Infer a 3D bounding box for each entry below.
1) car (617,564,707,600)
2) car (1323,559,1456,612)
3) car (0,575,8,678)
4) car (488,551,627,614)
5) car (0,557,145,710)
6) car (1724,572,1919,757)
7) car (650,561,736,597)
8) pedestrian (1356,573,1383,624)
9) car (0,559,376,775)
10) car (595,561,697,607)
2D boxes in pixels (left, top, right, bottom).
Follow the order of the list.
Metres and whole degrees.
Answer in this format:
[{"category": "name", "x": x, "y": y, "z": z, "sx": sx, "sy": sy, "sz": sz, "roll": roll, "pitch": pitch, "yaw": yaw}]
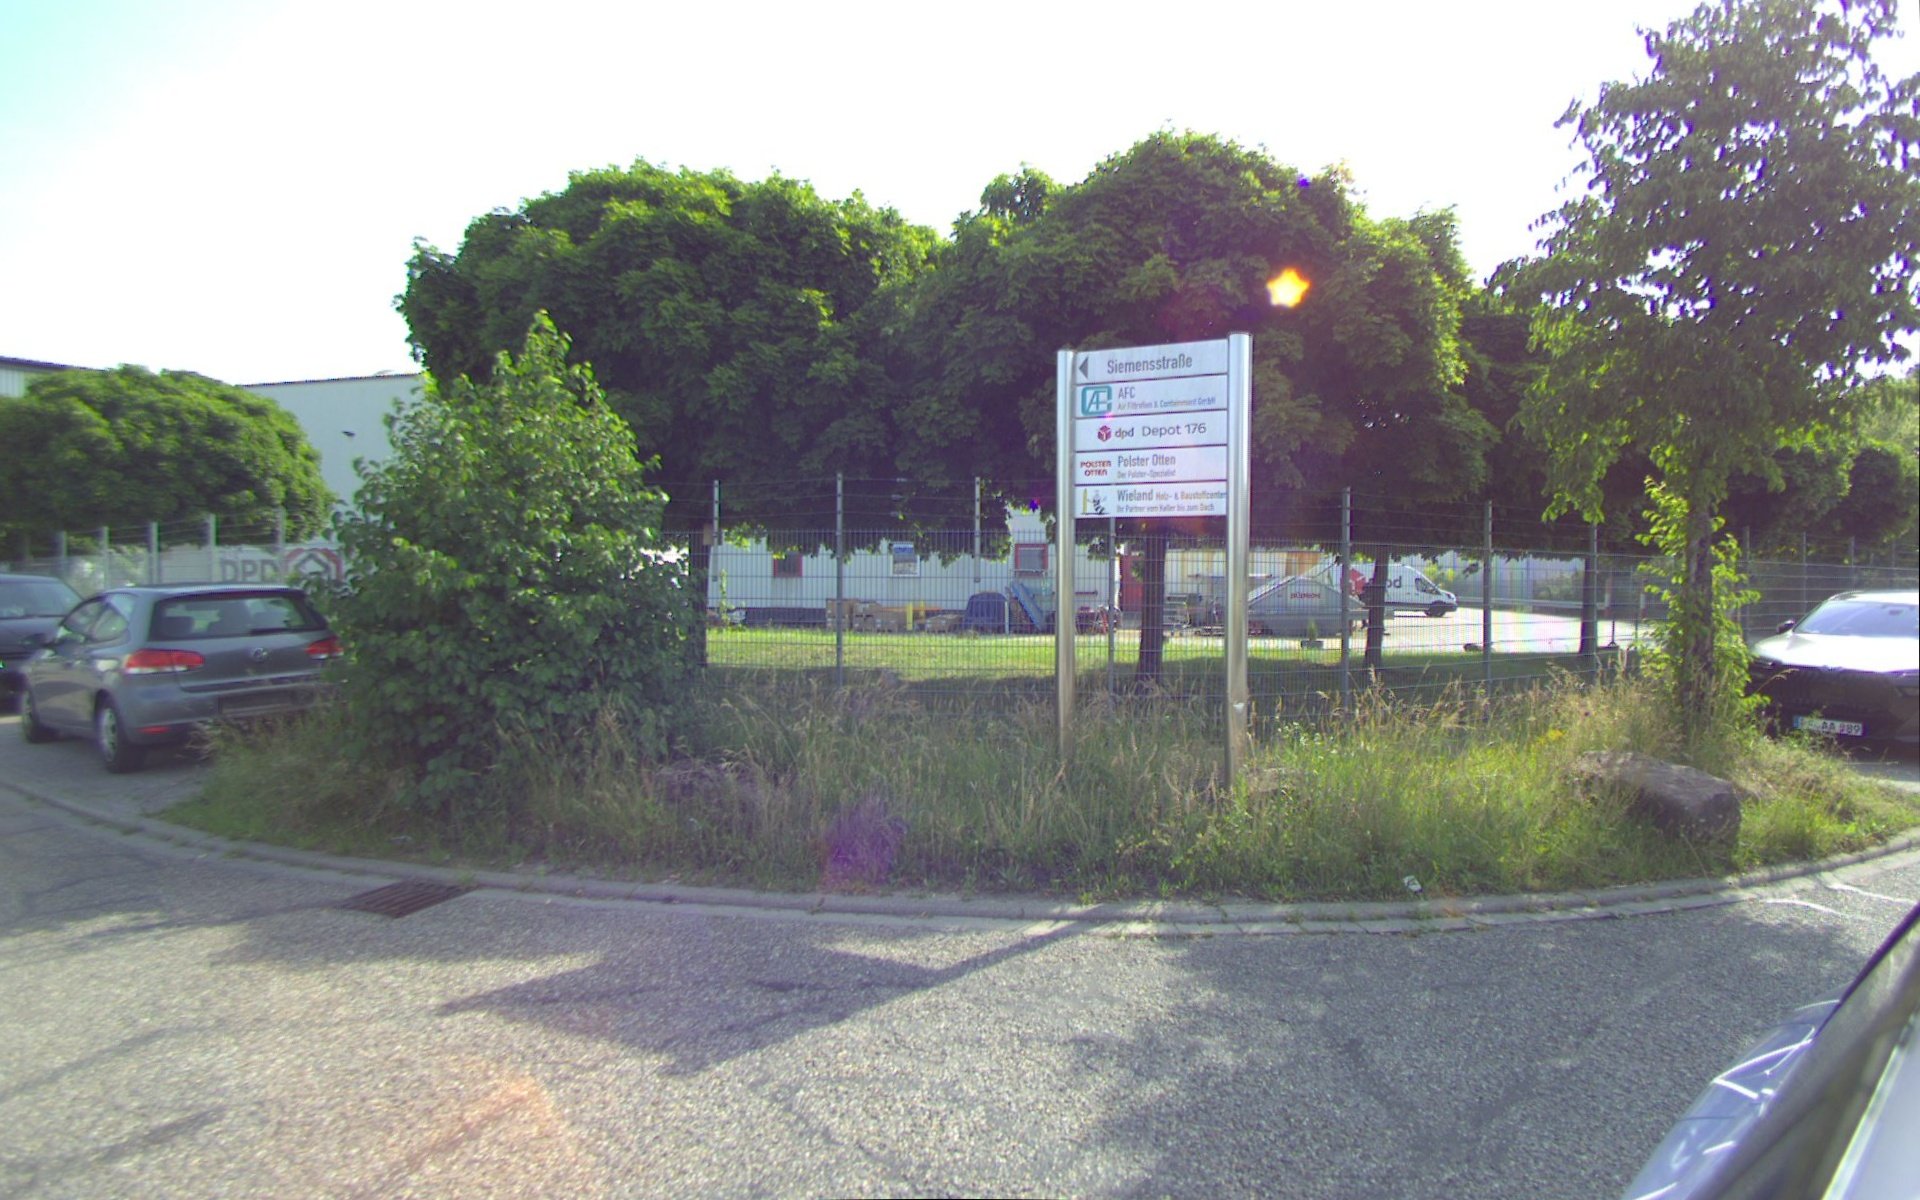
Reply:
[{"category": "car", "x": -17.303, "y": -1.049, "z": 58.756, "sx": 4.784, "sy": 1.989, "sz": 1.920, "roll": 1, "pitch": 1, "yaw": 18}, {"category": "car", "x": 22.490, "y": -0.749, "z": 53.279, "sx": 6.183, "sy": 2.682, "sz": 2.202, "roll": 0, "pitch": 1, "yaw": 15}, {"category": "car", "x": -16.603, "y": 0.444, "z": 15.855, "sx": 4.466, "sy": 1.536, "sz": 1.706, "roll": 0, "pitch": 3, "yaw": 37}, {"category": "car", "x": -17.497, "y": -0.788, "z": 44.484, "sx": 2.143, "sy": 2.549, "sz": 6.671, "roll": 0, "pitch": 1, "yaw": 15}, {"category": "car", "x": -12.101, "y": 0.370, "z": 12.630, "sx": 4.240, "sy": 1.645, "sz": 1.855, "roll": 0, "pitch": 3, "yaw": 35}, {"category": "car", "x": 10.253, "y": 0.520, "z": 10.724, "sx": 5.020, "sy": 1.593, "sz": 1.888, "roll": -1, "pitch": 3, "yaw": -34}, {"category": "car", "x": -16.289, "y": -1.278, "z": 61.750, "sx": 4.784, "sy": 2.110, "sz": 1.920, "roll": 1, "pitch": 1, "yaw": 18}, {"category": "pedestrian", "x": 14.357, "y": -0.055, "z": 35.481, "sx": 0.849, "sy": 1.743, "sz": 0.627, "roll": 0, "pitch": 0, "yaw": 25}, {"category": "car", "x": -7.224, "y": 0.471, "z": 9.279, "sx": 3.935, "sy": 1.542, "sz": 1.707, "roll": 0, "pitch": 3, "yaw": 35}, {"category": "car", "x": -16.133, "y": -0.844, "z": 52.022, "sx": 4.784, "sy": 2.317, "sz": 1.920, "roll": 1, "pitch": 1, "yaw": 18}]
